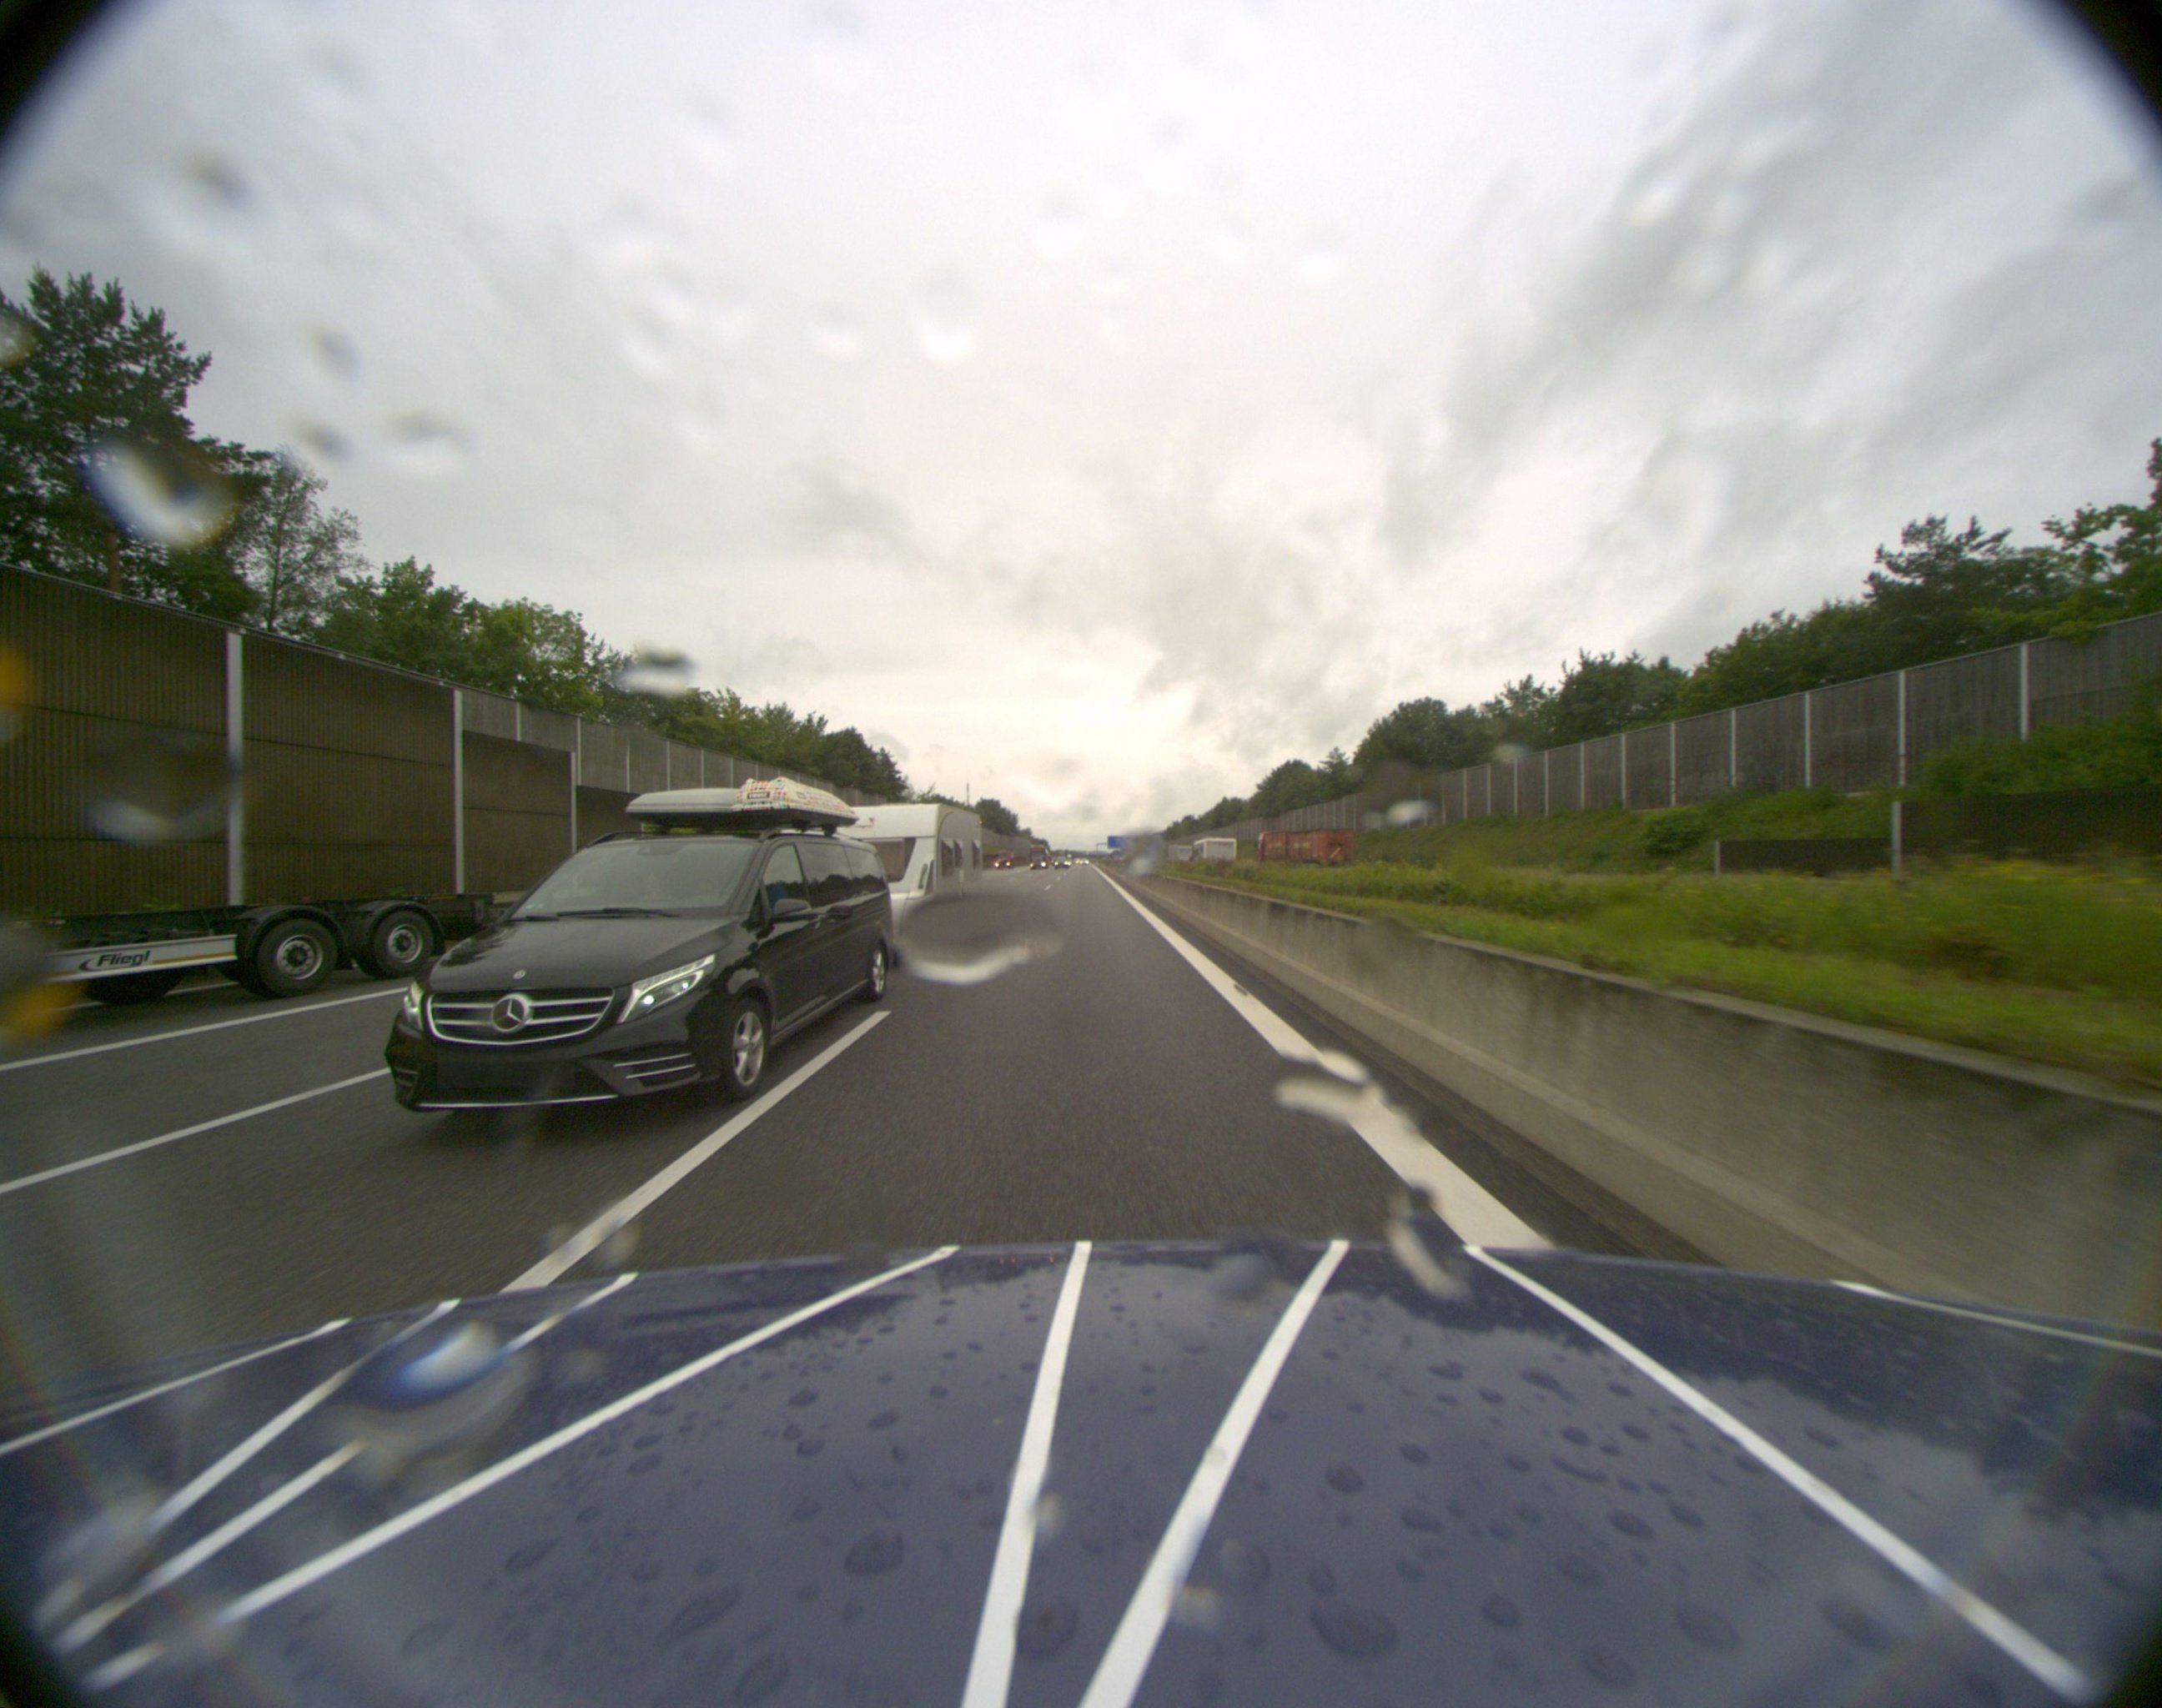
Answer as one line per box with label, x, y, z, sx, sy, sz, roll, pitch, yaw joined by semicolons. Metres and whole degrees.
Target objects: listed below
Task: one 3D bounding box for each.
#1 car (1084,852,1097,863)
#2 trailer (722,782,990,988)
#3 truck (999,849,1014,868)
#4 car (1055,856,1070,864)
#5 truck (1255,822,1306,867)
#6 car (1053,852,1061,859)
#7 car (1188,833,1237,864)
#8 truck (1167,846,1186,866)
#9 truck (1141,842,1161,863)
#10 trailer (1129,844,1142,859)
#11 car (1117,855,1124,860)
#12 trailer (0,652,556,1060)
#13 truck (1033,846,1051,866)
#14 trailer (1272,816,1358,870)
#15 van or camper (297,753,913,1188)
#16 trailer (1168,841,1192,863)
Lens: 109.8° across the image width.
car;2.117;0.841;175.319;2.680;2.340;5.807;-1;0;-2
trailer;-3.346;0.408;13.579;2.728;2.627;7.510;-1;0;-2
truck;-13.605;0.763;138.603;2.421;3.445;3.999;-1;0;-2
car;-2.790;0.886;114.389;2.061;1.020;3.438;-2;0;0
truck;17.504;-0.795;67.114;2.703;3.685;6.480;-2;0;1
car;-6.061;0.412;192.408;1.998;1.747;4.000;-1;0;1
car;9.799;-0.420;57.282;2.380;2.180;7.723;-1;0;0
truck;18.092;0.365;144.629;2.896;3.773;5.889;0;0;1
truck;15.149;-0.303;165.154;3.159;4.299;12.679;-2;0;1
trailer;15.899;-0.702;222.789;2.786;4.299;14.023;-2;0;0
car;11.880;1.011;227.899;1.977;1.679;4.357;0;0;0
trailer;-11.742;0.060;6.670;2.658;3.930;16.683;-2;0;0
truck;-6.385;0.318;125.213;2.617;3.218;4.632;-1;0;0
trailer;17.480;-0.726;57.889;2.733;3.662;12.563;0;0;1
van or camper;-3.125;0.615;6.836;1.895;2.256;5.679;-1;0;0
trailer;18.093;-0.309;139.261;2.911;3.912;12.443;0;0;0
